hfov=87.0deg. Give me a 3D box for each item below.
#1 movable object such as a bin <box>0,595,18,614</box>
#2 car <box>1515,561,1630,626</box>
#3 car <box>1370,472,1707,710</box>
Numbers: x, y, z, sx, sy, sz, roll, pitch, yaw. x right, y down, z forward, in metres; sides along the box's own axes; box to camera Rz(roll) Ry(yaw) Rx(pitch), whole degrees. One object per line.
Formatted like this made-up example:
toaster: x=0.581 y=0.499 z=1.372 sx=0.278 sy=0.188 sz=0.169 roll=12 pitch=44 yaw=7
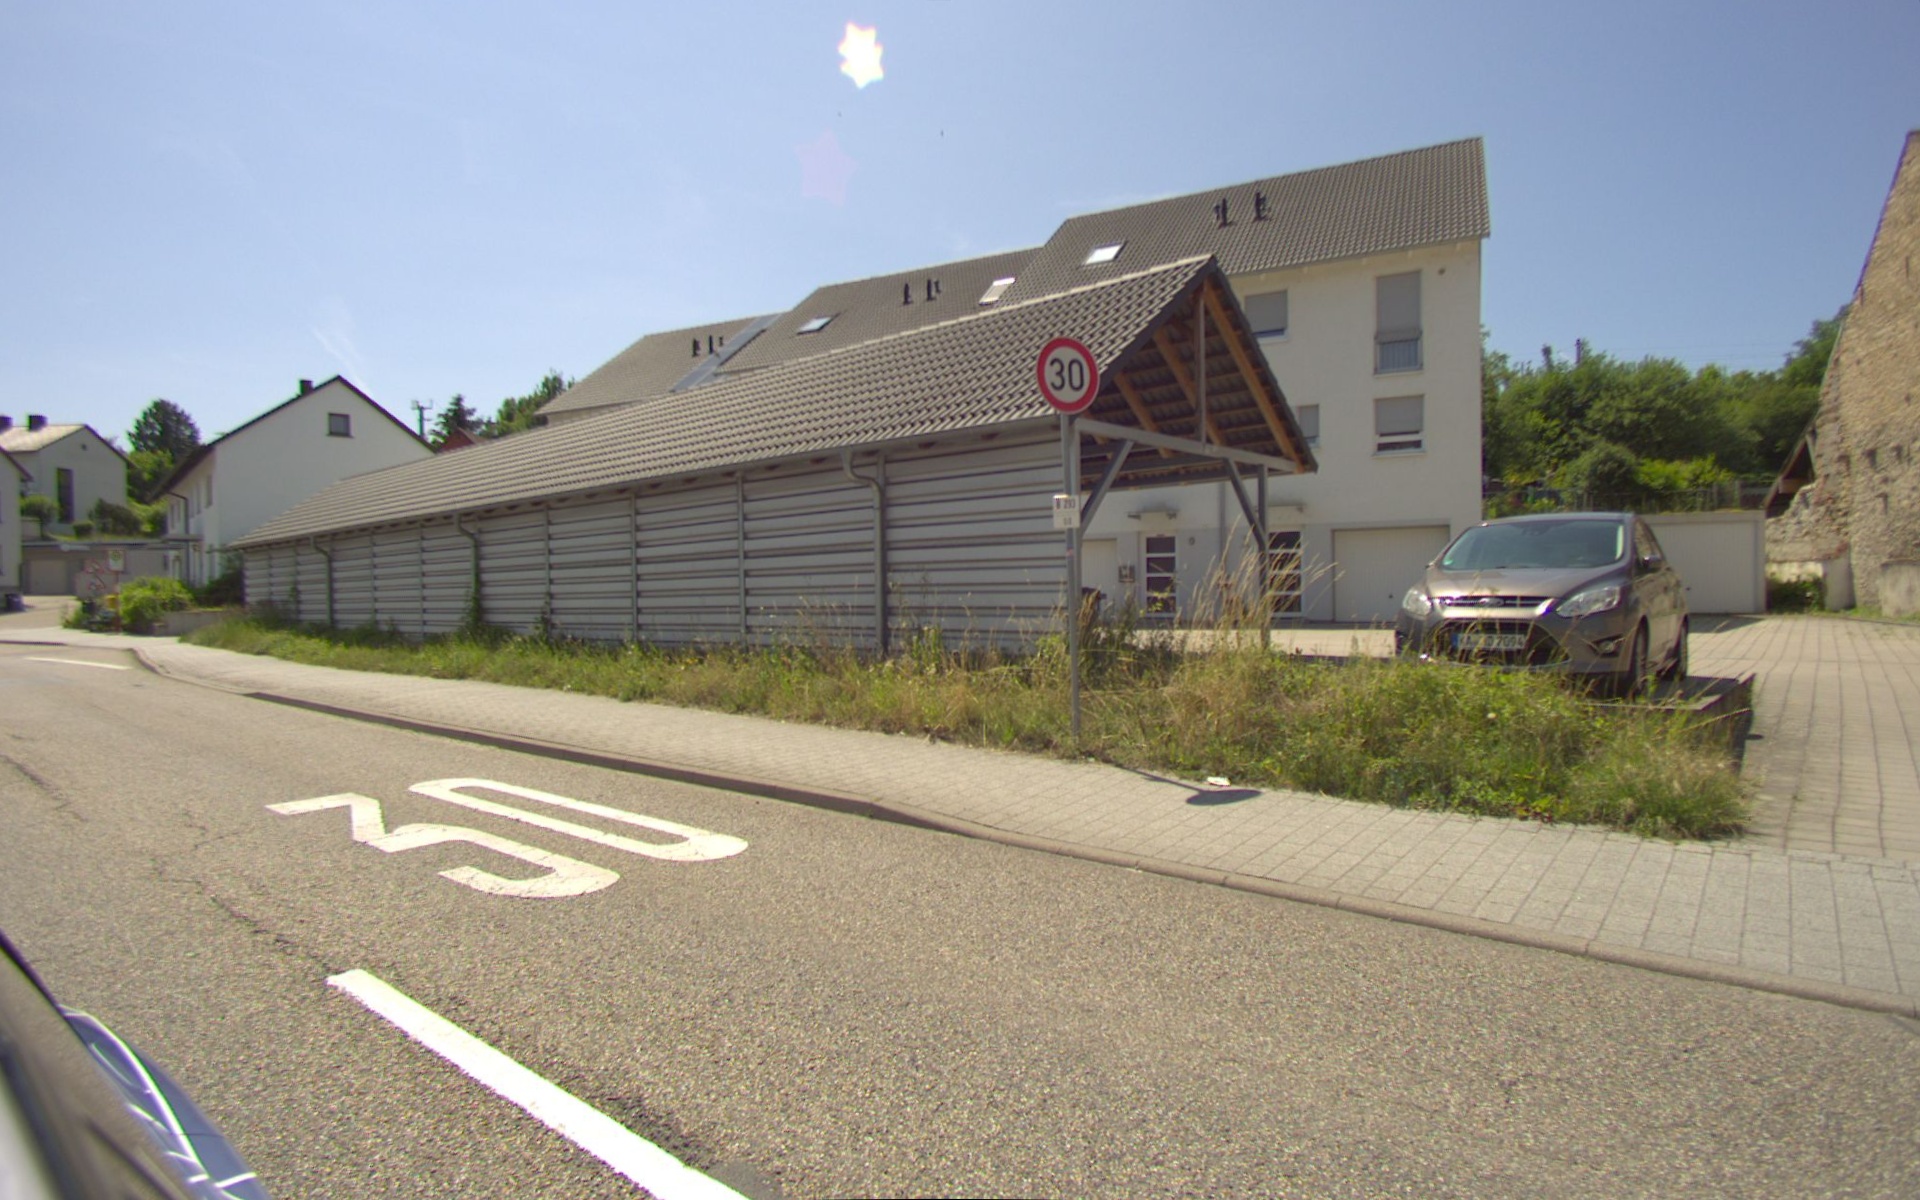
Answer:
movable object such as a bin: x=-48.890 y=0.223 z=51.909 sx=0.591 sy=0.941 sz=0.601 roll=-1 pitch=0 yaw=-6
car: x=13.407 y=-0.192 z=22.347 sx=1.853 sy=1.291 sz=3.964 roll=-1 pitch=1 yaw=27
car: x=5.395 y=-0.070 z=9.169 sx=1.865 sy=1.650 sz=4.081 roll=-1 pitch=0 yaw=41
